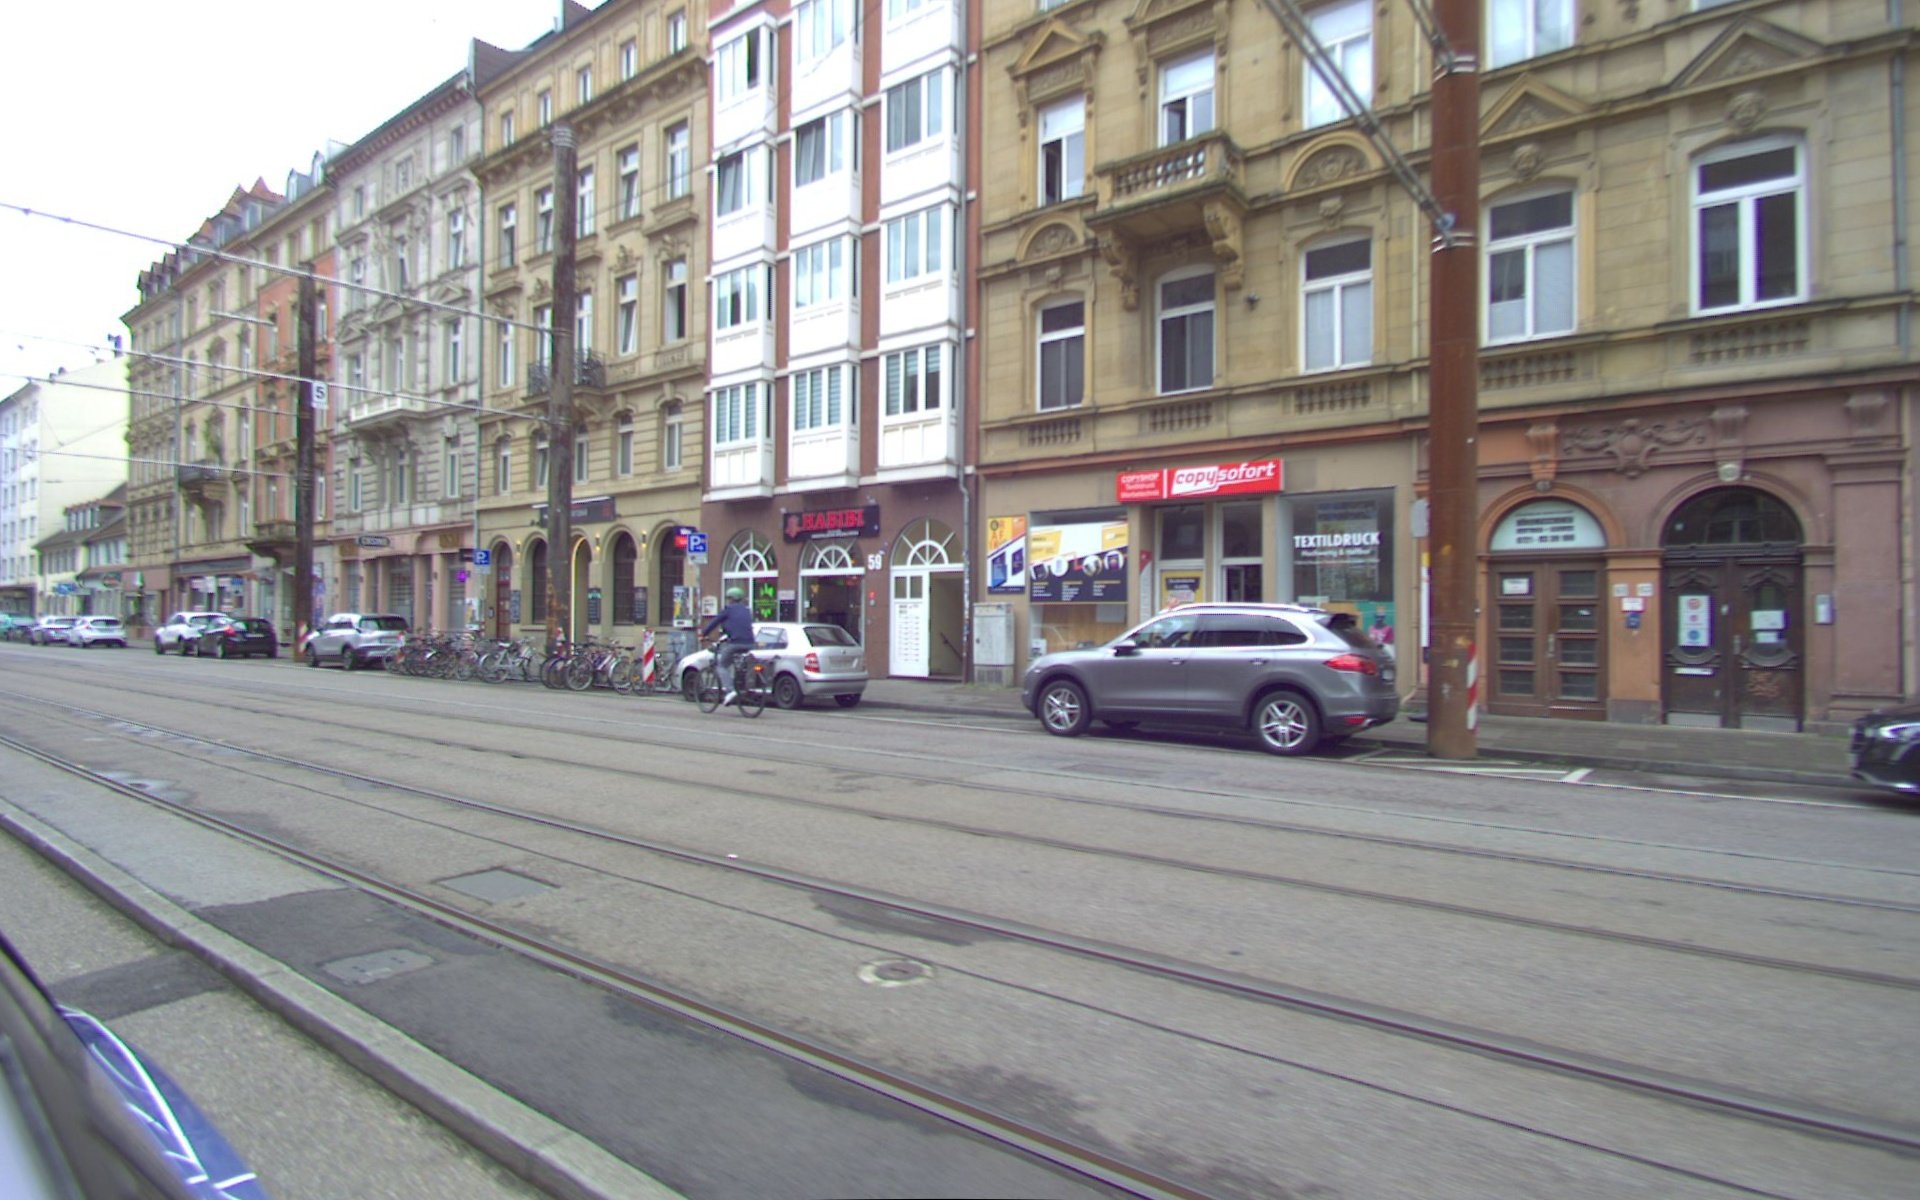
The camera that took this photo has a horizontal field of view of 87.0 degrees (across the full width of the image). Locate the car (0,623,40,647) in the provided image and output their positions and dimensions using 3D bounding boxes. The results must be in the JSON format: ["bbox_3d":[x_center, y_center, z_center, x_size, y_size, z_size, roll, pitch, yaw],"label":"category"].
[{"bbox_3d":[-55.681,2.072,59.472,3.428,1.391,1.633,-1,-3,35],"label":"car"}]

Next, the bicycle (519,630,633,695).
[{"bbox_3d":[-8.278,1.350,21.941,0.665,1.339,2.260,-1,-4,38],"label":"bicycle"}]

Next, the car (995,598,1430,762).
[{"bbox_3d":[3.022,0.897,12.742,5.020,1.703,1.797,-1,-3,35],"label":"car"}]

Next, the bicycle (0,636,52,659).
[{"bbox_3d":[-49.309,2.499,53.385,0.556,1.106,2.019,-1,-1,38],"label":"bicycle"}]

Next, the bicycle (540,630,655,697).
[{"bbox_3d":[-7.633,1.332,21.421,0.665,1.339,2.260,-1,-4,38],"label":"bicycle"}]

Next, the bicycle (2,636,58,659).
[{"bbox_3d":[-48.754,2.474,53.066,0.556,1.106,2.113,-1,-1,38],"label":"bicycle"}]

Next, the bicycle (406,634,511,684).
[{"bbox_3d":[-12.579,1.484,25.463,0.704,1.212,2.260,-1,-4,38],"label":"bicycle"}]

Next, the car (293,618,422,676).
[{"bbox_3d":[-17.403,1.332,29.147,4.219,1.545,1.727,-1,-3,37],"label":"car"}]

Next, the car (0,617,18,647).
[{"bbox_3d":[-59.431,1.958,62.216,3.916,1.770,1.686,-1,-3,40],"label":"car"}]

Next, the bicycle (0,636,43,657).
[{"bbox_3d":[-50.771,2.498,54.500,0.556,1.106,2.019,-1,-1,38],"label":"bicycle"}]

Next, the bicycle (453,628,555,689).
[{"bbox_3d":[-10.847,1.371,24.173,0.448,1.304,2.260,-1,0,38],"label":"bicycle"}]

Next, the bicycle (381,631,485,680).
[{"bbox_3d":[-13.624,1.448,26.231,0.704,1.212,2.260,-1,-4,38],"label":"bicycle"}]

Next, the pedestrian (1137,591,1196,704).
[{"bbox_3d":[3.383,0.755,16.608,0.644,1.796,0.788,0,-1,-16],"label":"pedestrian"}]

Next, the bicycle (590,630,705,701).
[{"bbox_3d":[-6.184,1.301,20.178,0.520,1.339,2.260,-1,-4,38],"label":"bicycle"}]

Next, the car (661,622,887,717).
[{"bbox_3d":[-3.340,1.158,17.888,3.914,1.500,1.727,-1,-3,37],"label":"car"}]

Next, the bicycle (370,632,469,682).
[{"bbox_3d":[-14.187,1.473,26.622,0.547,1.212,2.260,-1,-1,38],"label":"bicycle"}]

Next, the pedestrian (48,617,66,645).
[{"bbox_3d":[-52.006,1.787,58.294,0.727,1.629,0.649,-1,-1,37],"label":"pedestrian"}]

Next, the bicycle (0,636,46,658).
[{"bbox_3d":[-50.259,2.502,54.112,0.556,1.106,2.019,-1,-1,38],"label":"bicycle"}]

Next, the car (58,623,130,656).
[{"bbox_3d":[-40.514,1.848,47.341,4.040,1.476,1.727,-1,-3,38],"label":"car"}]

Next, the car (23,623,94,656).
[{"bbox_3d":[-44.357,1.949,49.773,4.539,1.533,1.806,-2,-3,38],"label":"car"}]

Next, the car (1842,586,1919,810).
[{"bbox_3d":[9.684,0.783,7.127,5.043,1.702,1.902,-1,-4,37],"label":"car"}]

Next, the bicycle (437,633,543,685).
[{"bbox_3d":[-11.380,1.435,24.584,0.665,1.212,2.260,-1,-4,38],"label":"bicycle"}]

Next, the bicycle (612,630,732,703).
[{"bbox_3d":[-5.589,1.295,19.770,0.665,1.339,2.260,-1,-4,38],"label":"bicycle"}]

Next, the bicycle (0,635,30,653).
[{"bbox_3d":[-52.539,2.425,55.669,0.556,0.940,2.019,-1,-1,39],"label":"bicycle"}]

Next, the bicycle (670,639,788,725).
[{"bbox_3d":[-3.500,1.196,15.212,2.043,1.183,0.579,-1,-3,40],"label":"bicycle"}]

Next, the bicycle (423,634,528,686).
[{"bbox_3d":[-11.943,1.482,25.020,0.665,1.212,2.260,-1,-4,38],"label":"bicycle"}]

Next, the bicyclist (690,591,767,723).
[{"bbox_3d":[-3.466,0.826,15.151,1.027,1.897,0.639,-1,-1,39],"label":"bicyclist"}]

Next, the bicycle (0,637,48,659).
[{"bbox_3d":[-49.810,2.525,53.739,0.556,1.106,2.019,-1,-1,38],"label":"bicycle"}]

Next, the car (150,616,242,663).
[{"bbox_3d":[-28.959,1.492,38.329,4.040,1.685,1.727,-1,-3,38],"label":"car"}]

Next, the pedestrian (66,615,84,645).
[{"bbox_3d":[-51.449,1.740,58.825,0.752,1.725,0.649,-1,-1,37],"label":"pedestrian"}]

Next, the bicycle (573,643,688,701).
[{"bbox_3d":[-6.638,1.425,20.515,0.619,1.049,2.260,-1,-1,38],"label":"bicycle"}]

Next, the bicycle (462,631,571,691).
[{"bbox_3d":[-10.393,1.434,23.815,0.665,1.339,2.260,-1,-4,38],"label":"bicycle"}]

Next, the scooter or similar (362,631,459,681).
[{"bbox_3d":[-14.653,1.471,27.058,0.547,1.212,2.260,-1,-1,38],"label":"scooter or similar"}]

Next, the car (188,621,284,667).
[{"bbox_3d":[-25.473,1.527,35.573,3.915,1.500,1.726,-1,-3,39],"label":"car"}]

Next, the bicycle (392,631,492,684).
[{"bbox_3d":[-13.226,1.442,25.917,0.539,1.212,2.260,1,1,38],"label":"bicycle"}]
